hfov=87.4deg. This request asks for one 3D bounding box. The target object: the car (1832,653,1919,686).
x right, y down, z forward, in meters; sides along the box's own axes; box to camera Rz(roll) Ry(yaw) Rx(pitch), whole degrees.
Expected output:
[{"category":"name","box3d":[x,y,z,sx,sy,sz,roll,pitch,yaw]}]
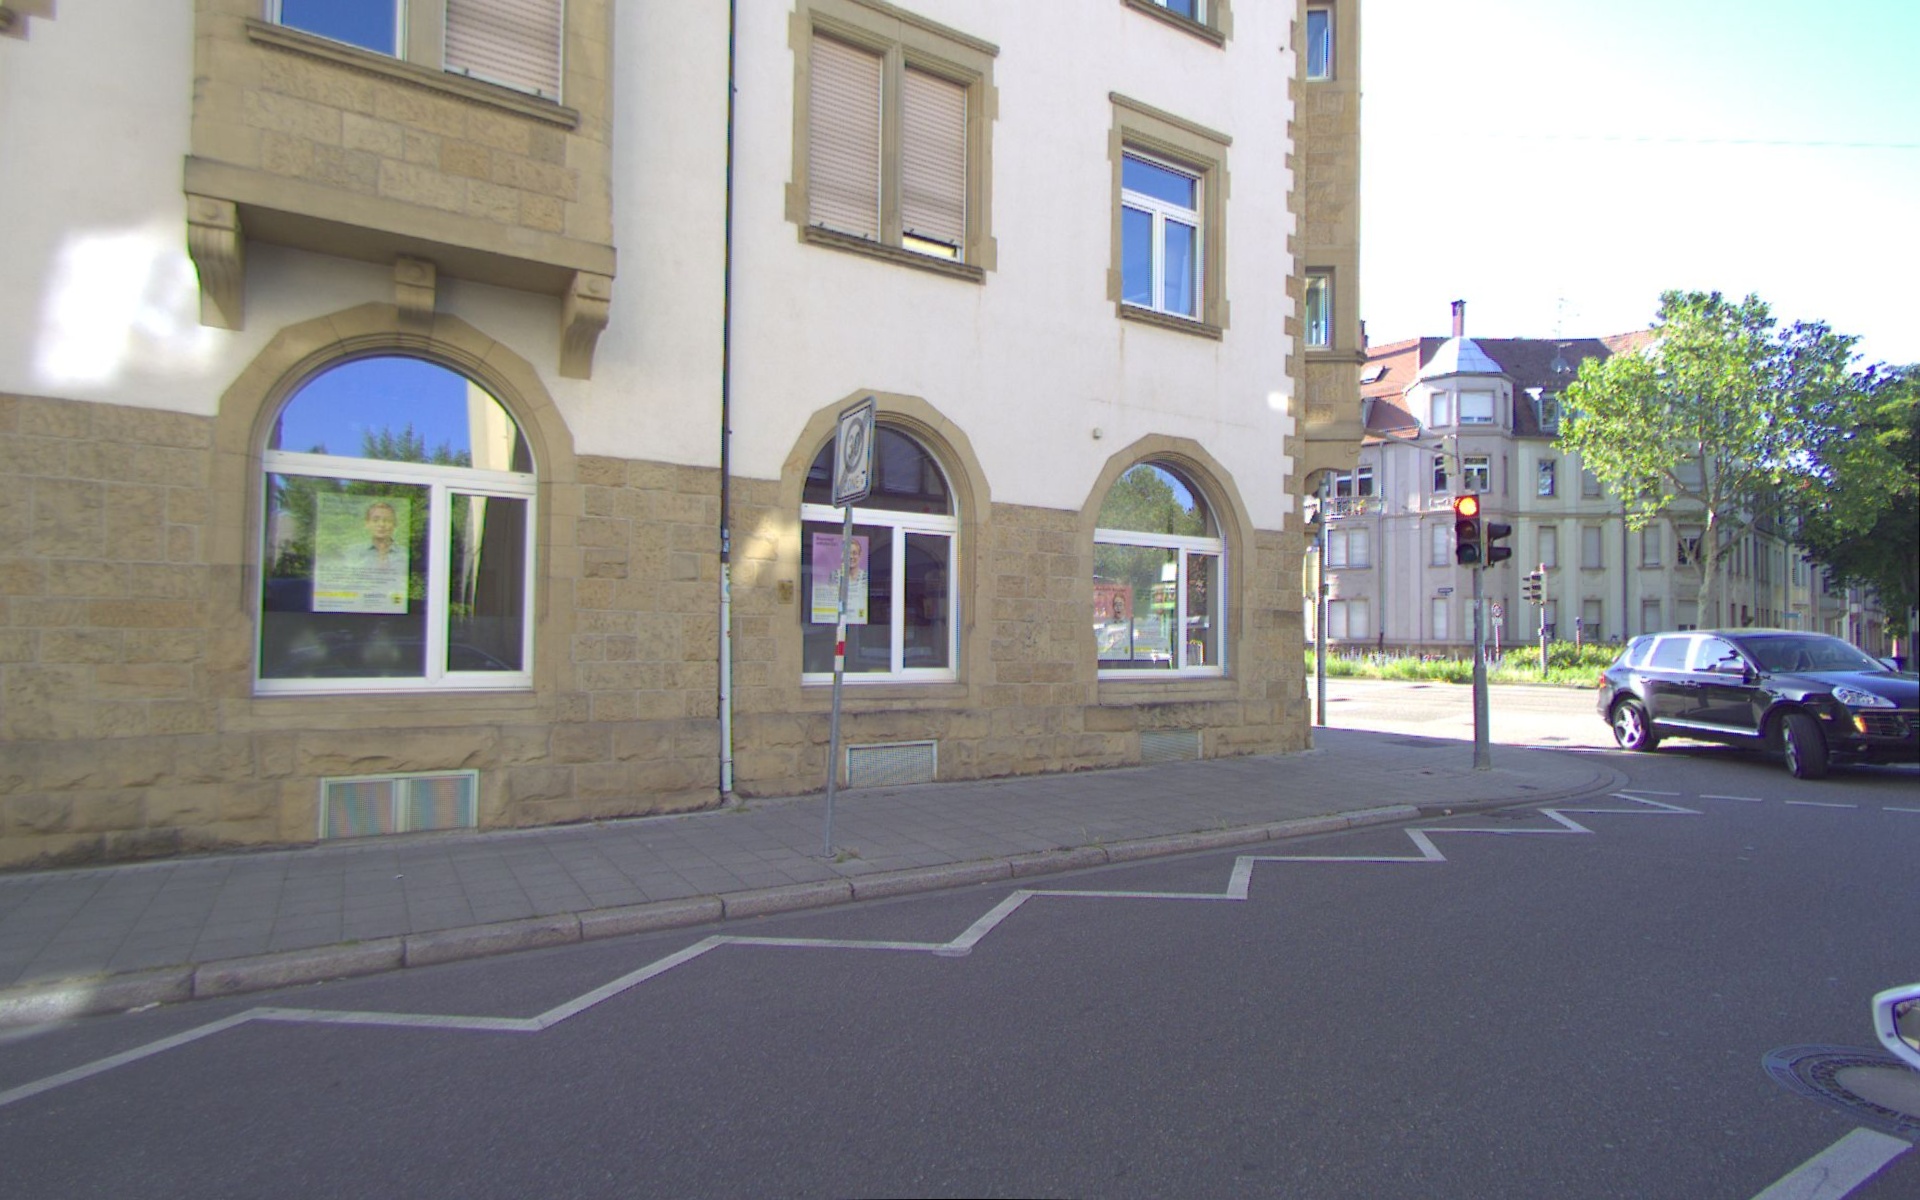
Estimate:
[{"category":"car","box3d":[45.445,3.402,49.505,1.647,1.476,3.595,2,-2,-44]}]

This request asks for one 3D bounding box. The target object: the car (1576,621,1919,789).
[{"category":"car","box3d":[10.330,1.189,12.761,2.038,1.716,4.710,-1,-3,-1]}]

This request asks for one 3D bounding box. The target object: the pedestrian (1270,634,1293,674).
[{"category":"pedestrian","box3d":[16.906,2.837,52.813,0.826,2.040,0.748,2,0,44]}]

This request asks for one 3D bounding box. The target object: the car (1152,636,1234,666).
[{"category":"car","box3d":[11.783,2.539,50.857,3.738,1.419,1.637,-1,-2,42]}]

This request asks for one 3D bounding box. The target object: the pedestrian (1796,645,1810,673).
[{"category":"pedestrian","box3d":[44.217,3.091,52.708,0.483,1.461,0.701,2,0,45]}]
